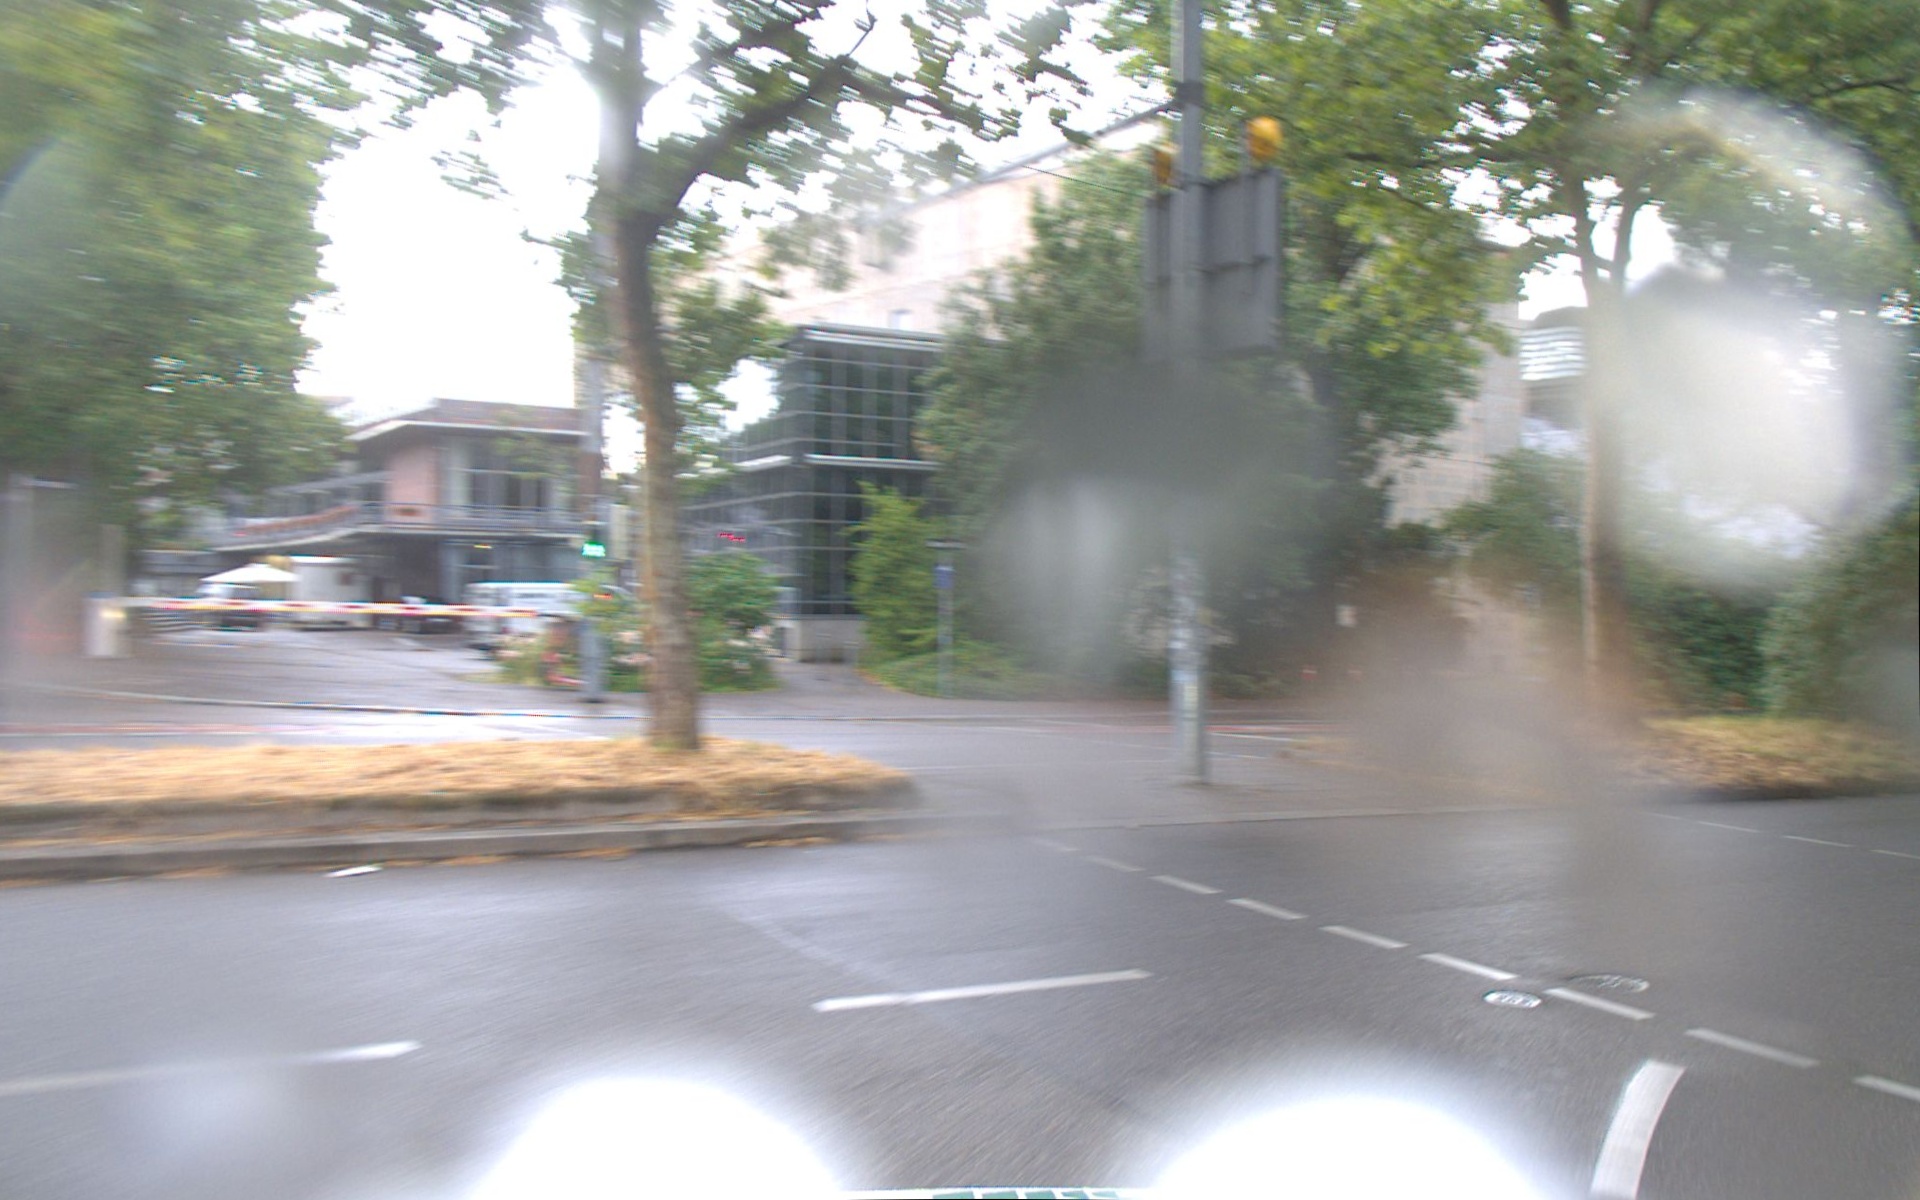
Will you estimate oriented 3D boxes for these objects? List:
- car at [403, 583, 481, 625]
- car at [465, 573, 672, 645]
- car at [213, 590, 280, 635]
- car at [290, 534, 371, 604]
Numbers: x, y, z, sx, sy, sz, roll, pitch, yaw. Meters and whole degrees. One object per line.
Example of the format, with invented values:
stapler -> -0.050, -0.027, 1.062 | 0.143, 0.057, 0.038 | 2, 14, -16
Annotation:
car -> -21.426, 0.142, 68.358 | 2.001, 1.578, 4.301 | 1, 1, -33
car -> -10.328, 0.219, 43.930 | 1.843, 1.761, 5.180 | 2, 1, 44
car -> -27.825, 0.453, 64.576 | 1.988, 1.578, 4.328 | 1, 1, -18
car -> -26.260, -1.324, 68.875 | 2.696, 2.742, 6.869 | 1, 1, -25
